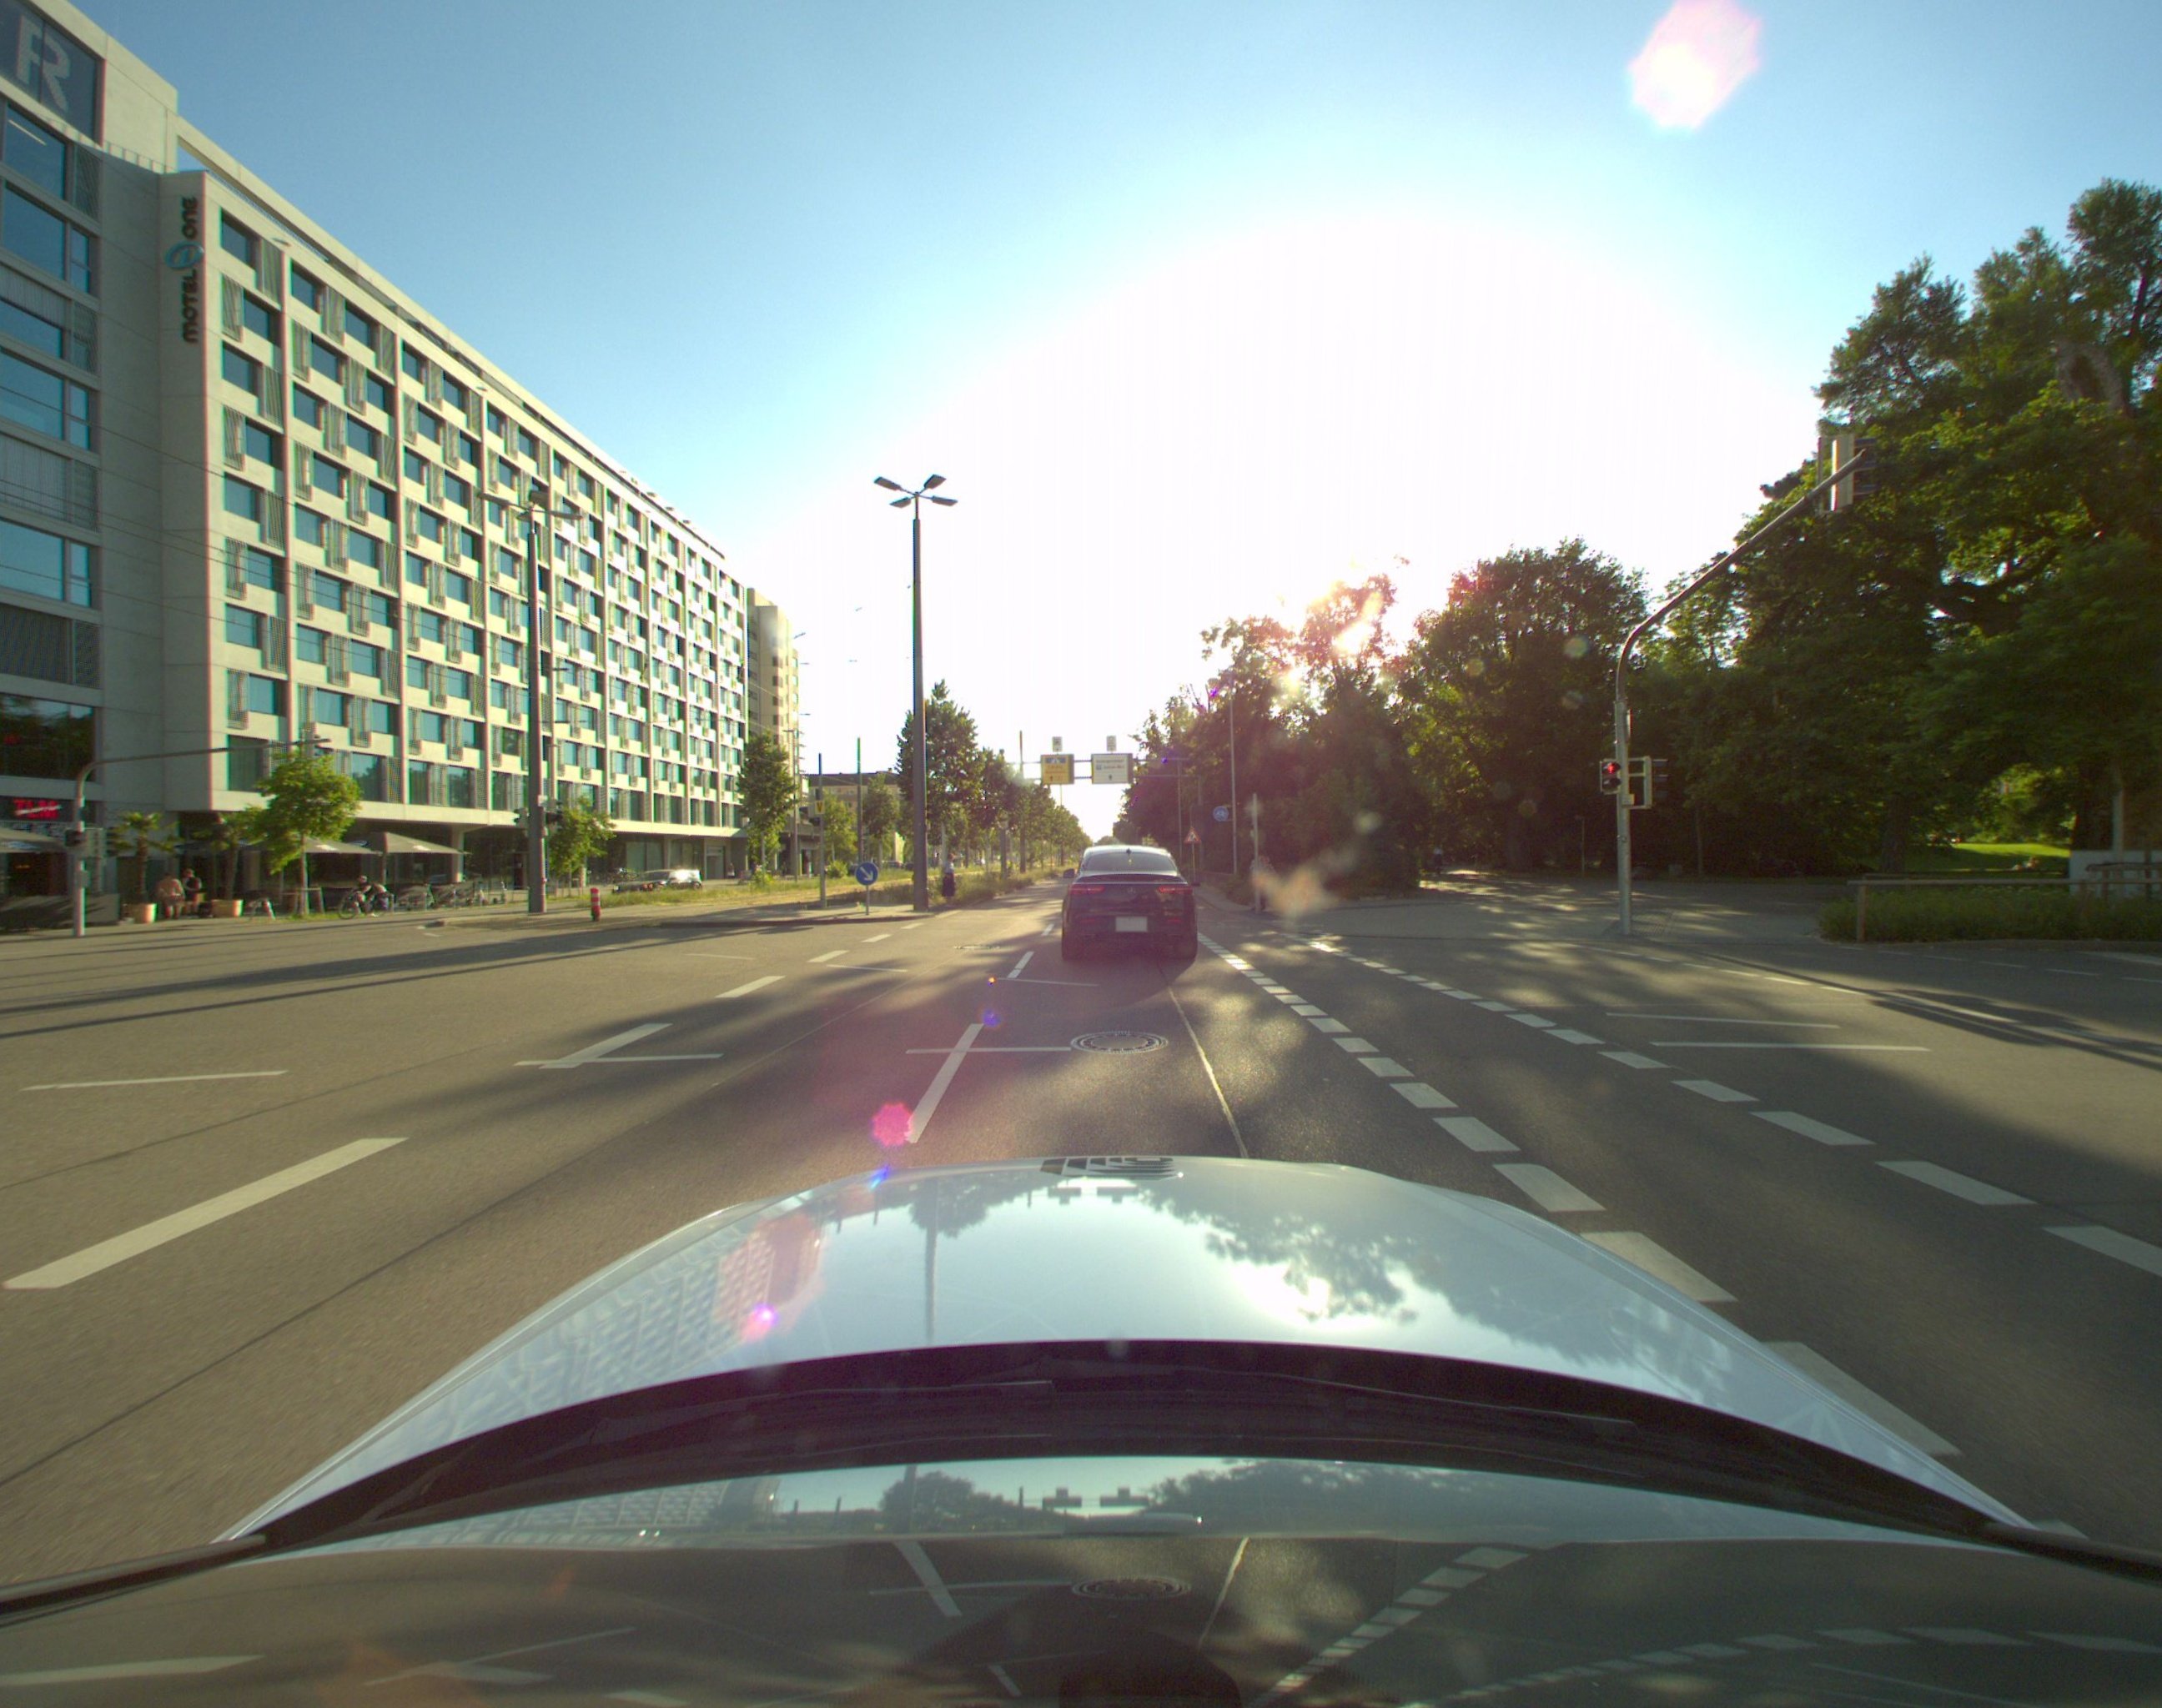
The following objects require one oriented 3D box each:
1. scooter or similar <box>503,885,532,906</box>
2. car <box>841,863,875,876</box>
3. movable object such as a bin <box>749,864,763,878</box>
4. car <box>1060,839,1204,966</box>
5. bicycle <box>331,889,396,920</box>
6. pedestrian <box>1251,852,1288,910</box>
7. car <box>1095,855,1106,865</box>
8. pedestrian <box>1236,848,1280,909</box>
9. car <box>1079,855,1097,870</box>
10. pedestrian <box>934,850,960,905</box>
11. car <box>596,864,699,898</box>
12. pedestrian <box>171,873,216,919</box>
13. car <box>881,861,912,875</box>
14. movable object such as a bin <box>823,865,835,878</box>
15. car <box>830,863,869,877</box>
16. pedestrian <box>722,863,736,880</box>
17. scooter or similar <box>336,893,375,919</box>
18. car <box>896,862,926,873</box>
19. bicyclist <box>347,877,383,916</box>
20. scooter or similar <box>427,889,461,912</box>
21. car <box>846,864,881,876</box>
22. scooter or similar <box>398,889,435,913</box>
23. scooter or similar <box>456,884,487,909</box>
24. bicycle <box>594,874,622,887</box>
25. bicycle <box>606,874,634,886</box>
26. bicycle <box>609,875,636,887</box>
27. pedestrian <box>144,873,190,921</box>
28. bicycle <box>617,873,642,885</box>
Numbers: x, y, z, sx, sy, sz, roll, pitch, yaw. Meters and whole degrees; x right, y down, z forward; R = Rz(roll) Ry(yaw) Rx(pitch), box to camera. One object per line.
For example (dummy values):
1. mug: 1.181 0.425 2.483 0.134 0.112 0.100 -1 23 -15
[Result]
1. scooter or similar: -29.440 2.171 42.543 1.238 1.019 0.435 -2 0 2
2. car: -27.587 1.939 100.867 3.643 1.523 1.602 1 -1 -39
3. movable object such as a bin: -34.865 1.798 87.380 0.797 1.440 1.403 -1 0 2
4. car: 0.701 0.667 13.241 1.987 1.734 3.999 0 0 0
5. bicycle: -28.056 1.969 31.906 0.622 1.067 2.079 -1 0 3
6. pedestrian: 5.572 0.796 24.086 0.765 1.636 0.768 -3 0 -8
7. car: 3.434 1.049 140.361 1.879 1.580 4.001 0 0 1
8. pedestrian: 5.399 0.736 24.860 0.862 1.802 0.898 -3 0 -33
9. car: 0.830 0.939 92.198 1.879 1.580 4.001 0 0 1
10. pedestrian: -4.205 0.731 25.609 0.595 1.699 0.715 -1 0 7
11. car: -19.269 1.173 36.485 1.884 1.343 4.852 -1 0 2
12. pedestrian: -33.710 1.589 30.934 0.863 1.721 0.806 -1 0 11
13. car: -26.063 1.964 115.041 3.777 1.829 1.804 0 0 -38
14. movable object such as a bin: -28.413 1.967 91.750 0.851 1.358 0.944 -1 -1 16
15. car: -27.689 1.906 97.363 4.116 1.601 1.730 2 0 -39
16. pedestrian: -33.435 1.666 77.392 0.840 1.653 0.971 -1 0 4
17. scooter or similar: -30.247 2.157 33.956 1.238 1.006 0.406 -2 0 2
18. car: -25.889 2.064 124.273 4.020 1.563 1.977 0 0 -40
19. bicyclist: -28.056 1.646 31.927 0.622 1.465 0.852 -1 -1 3
20. scooter or similar: -29.703 2.157 38.002 1.238 1.019 0.435 -2 0 2
21. car: -27.659 2.016 103.725 1.764 1.453 4.024 0 0 44
22. scooter or similar: -29.741 2.114 36.475 1.238 1.019 0.511 -2 0 2
23. scooter or similar: -29.678 2.061 39.664 1.238 1.172 0.406 -2 0 2
24. bicycle: -36.126 2.010 62.254 1.801 0.905 0.511 -1 -1 -5
25. bicycle: -35.867 2.024 63.375 1.801 0.905 0.511 -1 -1 -5
26. bicycle: -35.921 2.128 63.829 1.801 0.905 0.511 -1 -1 -5
27. pedestrian: -33.819 1.586 30.142 0.863 1.721 0.806 -1 0 11
28. bicycle: -36.072 2.002 65.088 1.745 0.966 0.483 0 0 1
